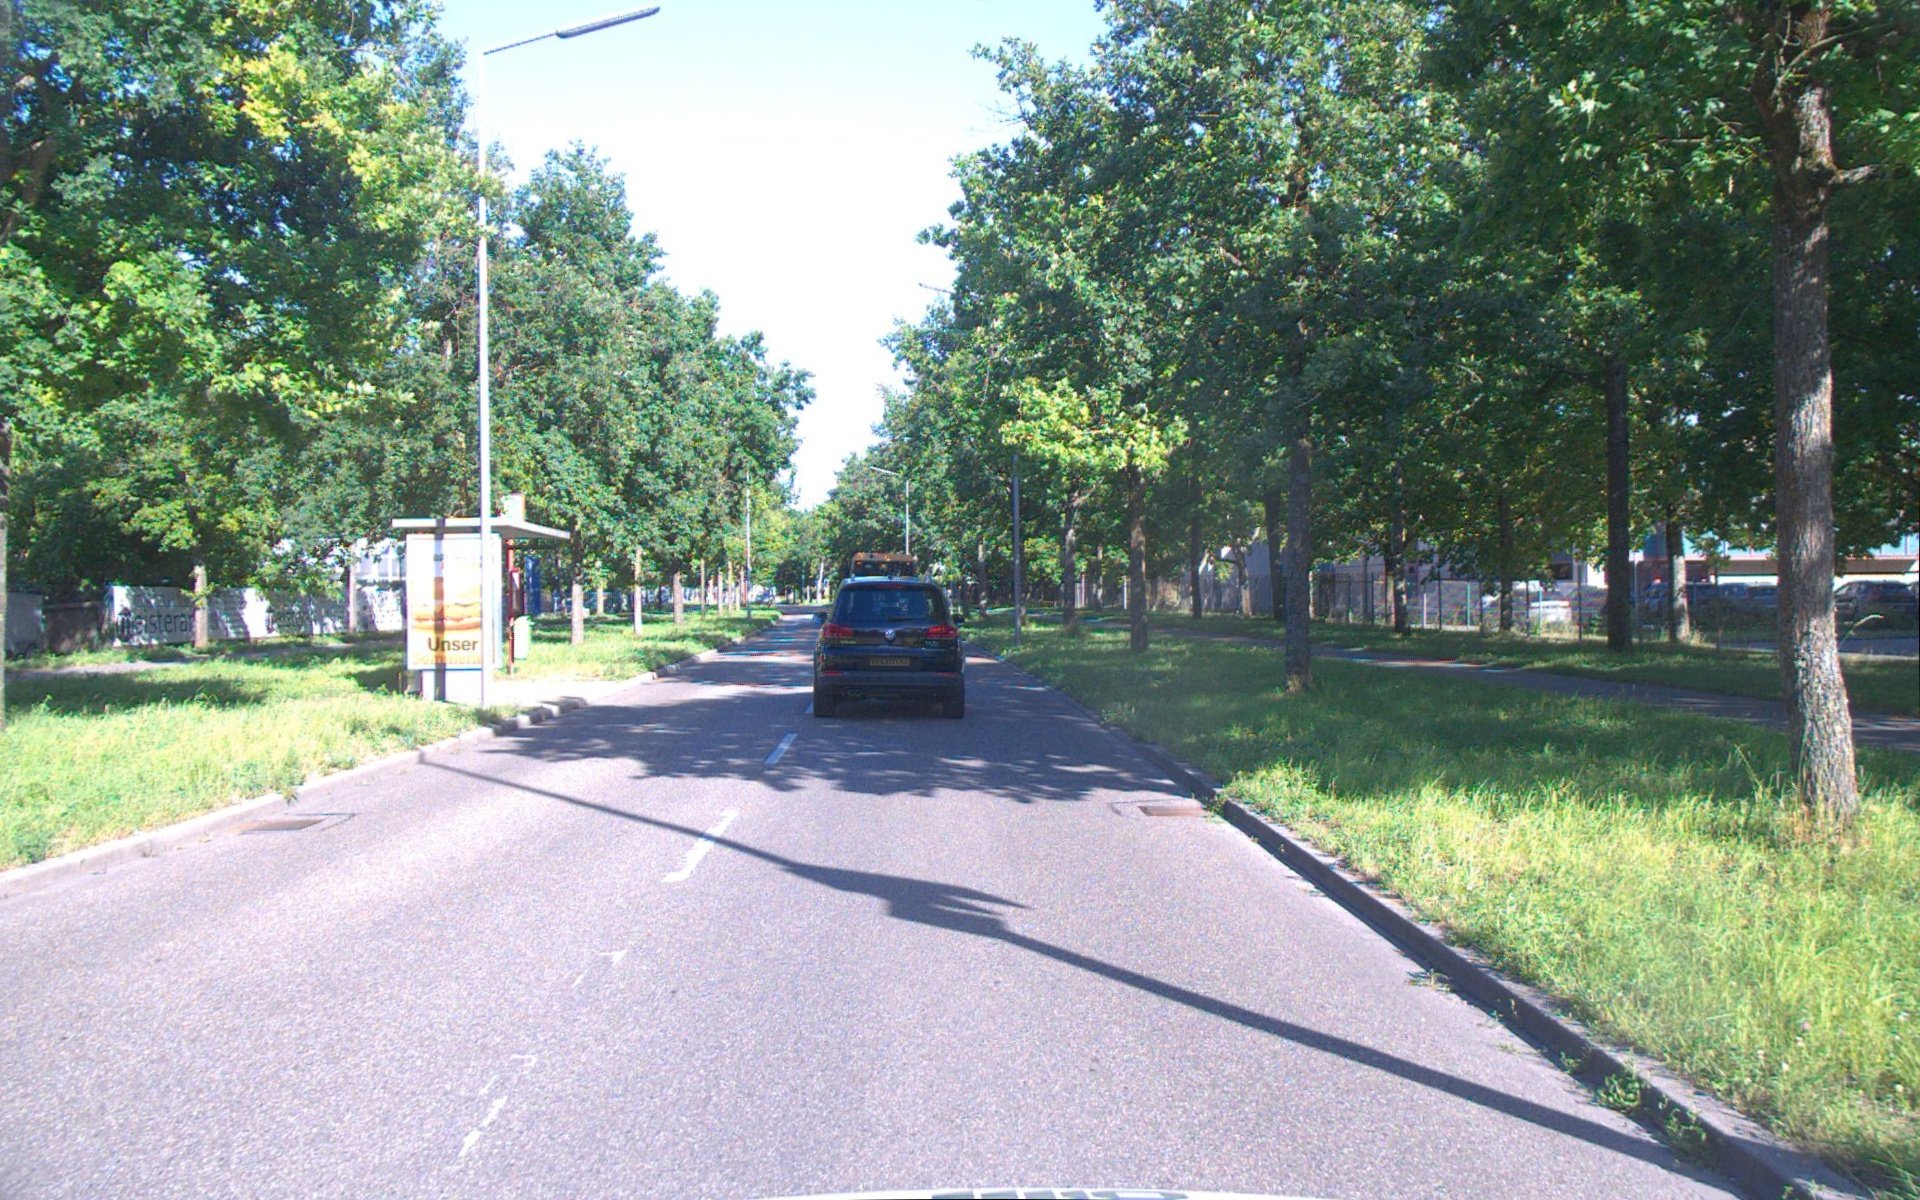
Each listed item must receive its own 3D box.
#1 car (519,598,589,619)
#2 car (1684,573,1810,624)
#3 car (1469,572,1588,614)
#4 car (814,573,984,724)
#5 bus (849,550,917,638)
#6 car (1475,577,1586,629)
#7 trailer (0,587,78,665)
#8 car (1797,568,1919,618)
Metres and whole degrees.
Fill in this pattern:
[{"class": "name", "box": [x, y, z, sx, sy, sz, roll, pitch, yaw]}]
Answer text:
[{"class": "car", "box": [-26.981, 0.549, 109.868, 4.111, 1.344, 1.942, -1, 0, 2]}, {"class": "car", "box": [28.640, -0.073, 60.368, 2.141, 1.774, 4.638, -1, 0, -4]}, {"class": "car", "box": [25.194, -0.297, 73.382, 4.540, 1.774, 2.187, -1, 0, -9]}, {"class": "car", "box": [-0.795, 0.530, 20.939, 1.897, 1.685, 4.424, 1, 1, -3]}, {"class": "bus", "box": [-3.318, -0.285, 72.482, 2.709, 3.517, 11.206, -1, 0, -2]}, {"class": "car", "box": [20.492, 0.087, 59.616, 2.141, 1.774, 4.638, -1, 0, -4]}, {"class": "trailer", "box": [-24.951, 0.653, 43.012, 2.059, 1.948, 3.740, -1, 0, -1]}, {"class": "car", "box": [33.061, -0.265, 60.683, 2.141, 1.774, 4.638, -1, 0, -4]}]
